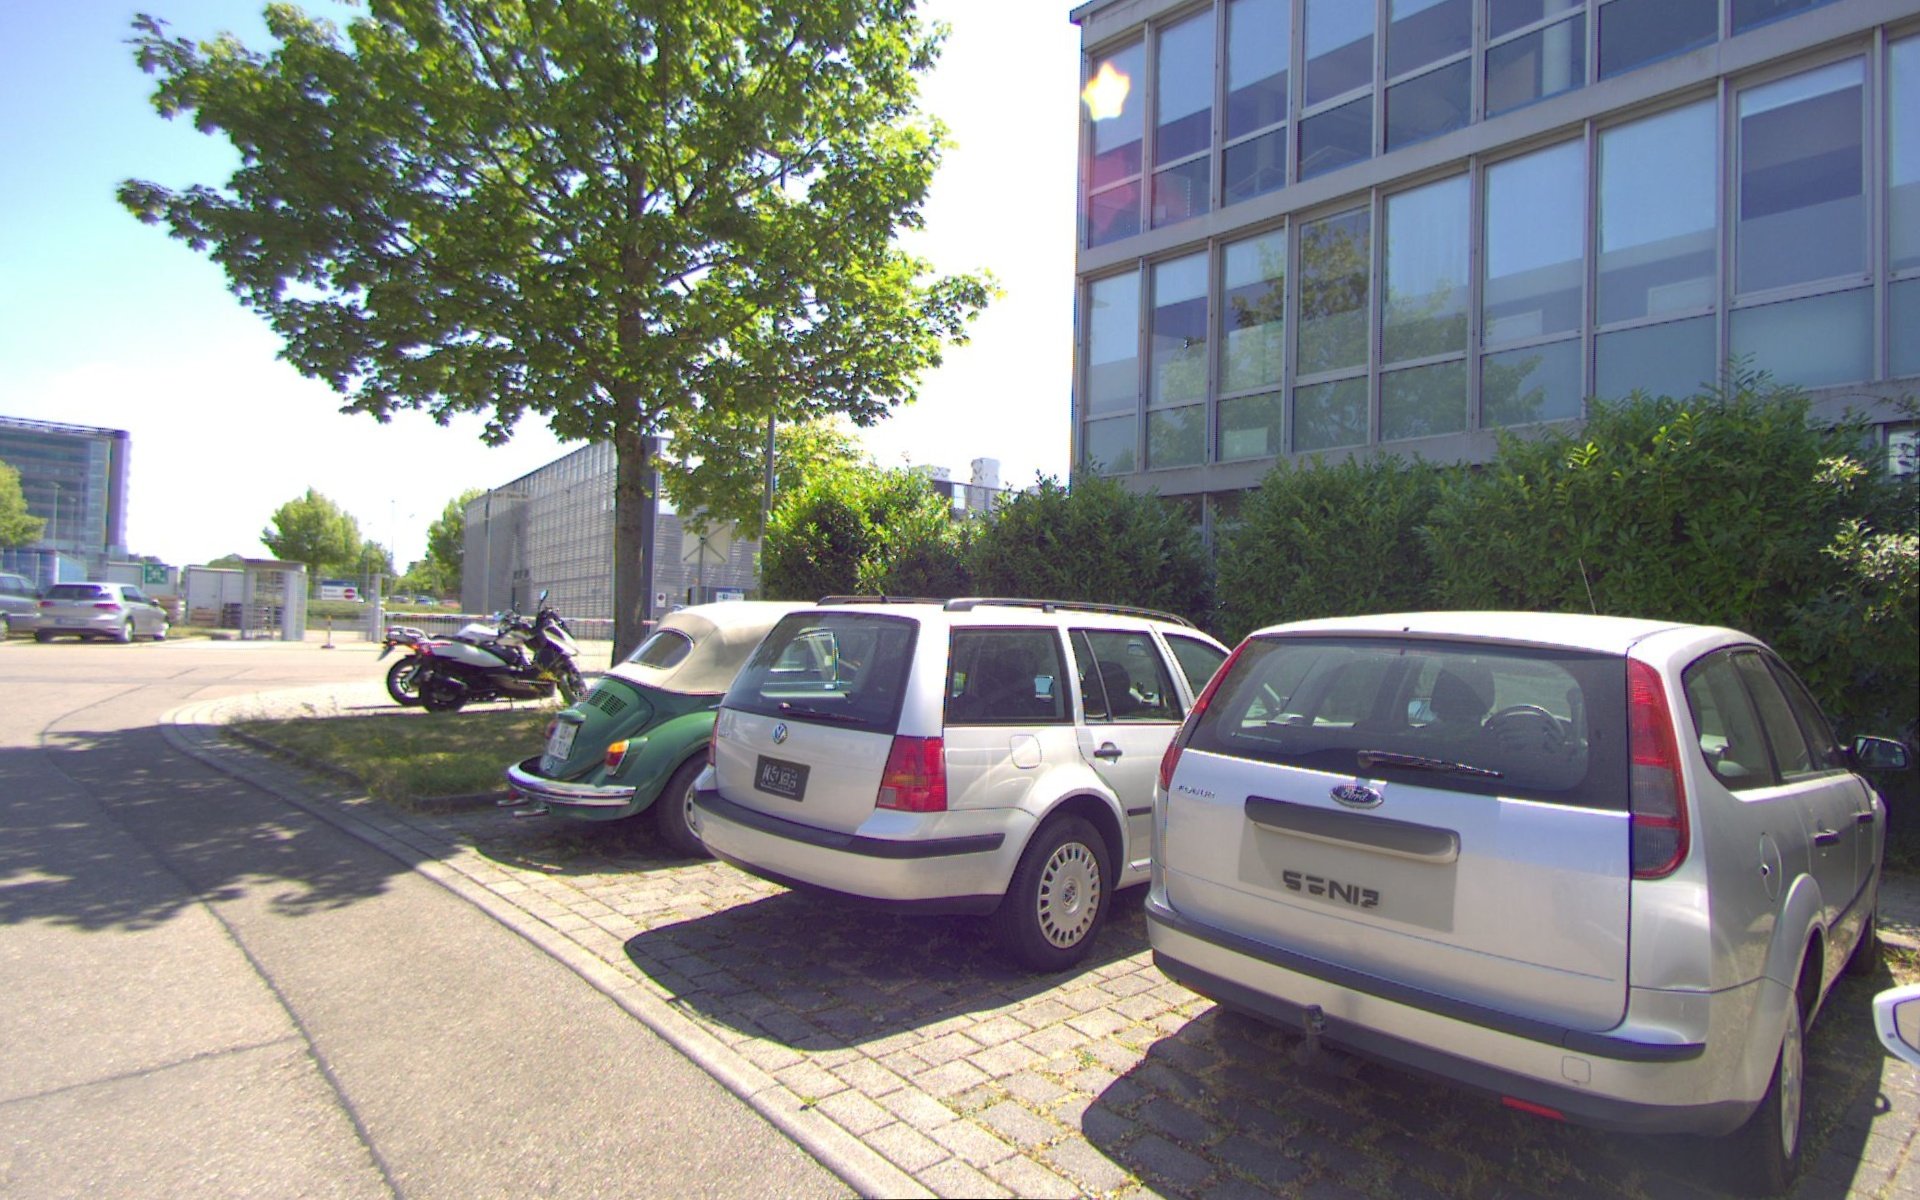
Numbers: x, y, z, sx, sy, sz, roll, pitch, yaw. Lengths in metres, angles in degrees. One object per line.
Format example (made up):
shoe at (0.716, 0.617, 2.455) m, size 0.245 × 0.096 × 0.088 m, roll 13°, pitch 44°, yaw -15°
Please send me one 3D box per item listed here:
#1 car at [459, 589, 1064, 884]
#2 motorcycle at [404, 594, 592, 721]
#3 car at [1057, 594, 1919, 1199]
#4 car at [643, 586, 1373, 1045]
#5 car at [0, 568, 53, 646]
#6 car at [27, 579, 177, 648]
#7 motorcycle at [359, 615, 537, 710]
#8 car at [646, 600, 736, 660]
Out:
car at (-1.141, 0.752, 7.003) m, size 1.630 × 1.467 × 3.868 m, roll 1°, pitch -1°, yaw 45°
motorcycle at (-5.477, 0.666, 12.013) m, size 0.478 × 1.408 × 1.977 m, roll 1°, pitch -1°, yaw 44°
car at (2.480, 0.823, 4.011) m, size 4.317 × 1.499 × 1.703 m, roll 3°, pitch -1°, yaw -43°
car at (0.544, 0.771, 5.257) m, size 1.630 × 1.499 × 3.868 m, roll 1°, pitch -1°, yaw 45°
car at (-23.530, 0.113, 24.158) m, size 1.753 × 1.761 × 3.966 m, roll 3°, pitch -1°, yaw -31°
car at (-21.239, 0.327, 25.056) m, size 1.630 × 1.542 × 3.978 m, roll 2°, pitch -1°, yaw -23°
motorcycle at (-6.544, 0.784, 12.929) m, size 0.478 × 1.123 × 1.977 m, roll 1°, pitch -1°, yaw 44°
car at (-7.948, 0.844, 29.413) m, size 1.972 × 1.616 × 3.977 m, roll 2°, pitch -1°, yaw -23°
